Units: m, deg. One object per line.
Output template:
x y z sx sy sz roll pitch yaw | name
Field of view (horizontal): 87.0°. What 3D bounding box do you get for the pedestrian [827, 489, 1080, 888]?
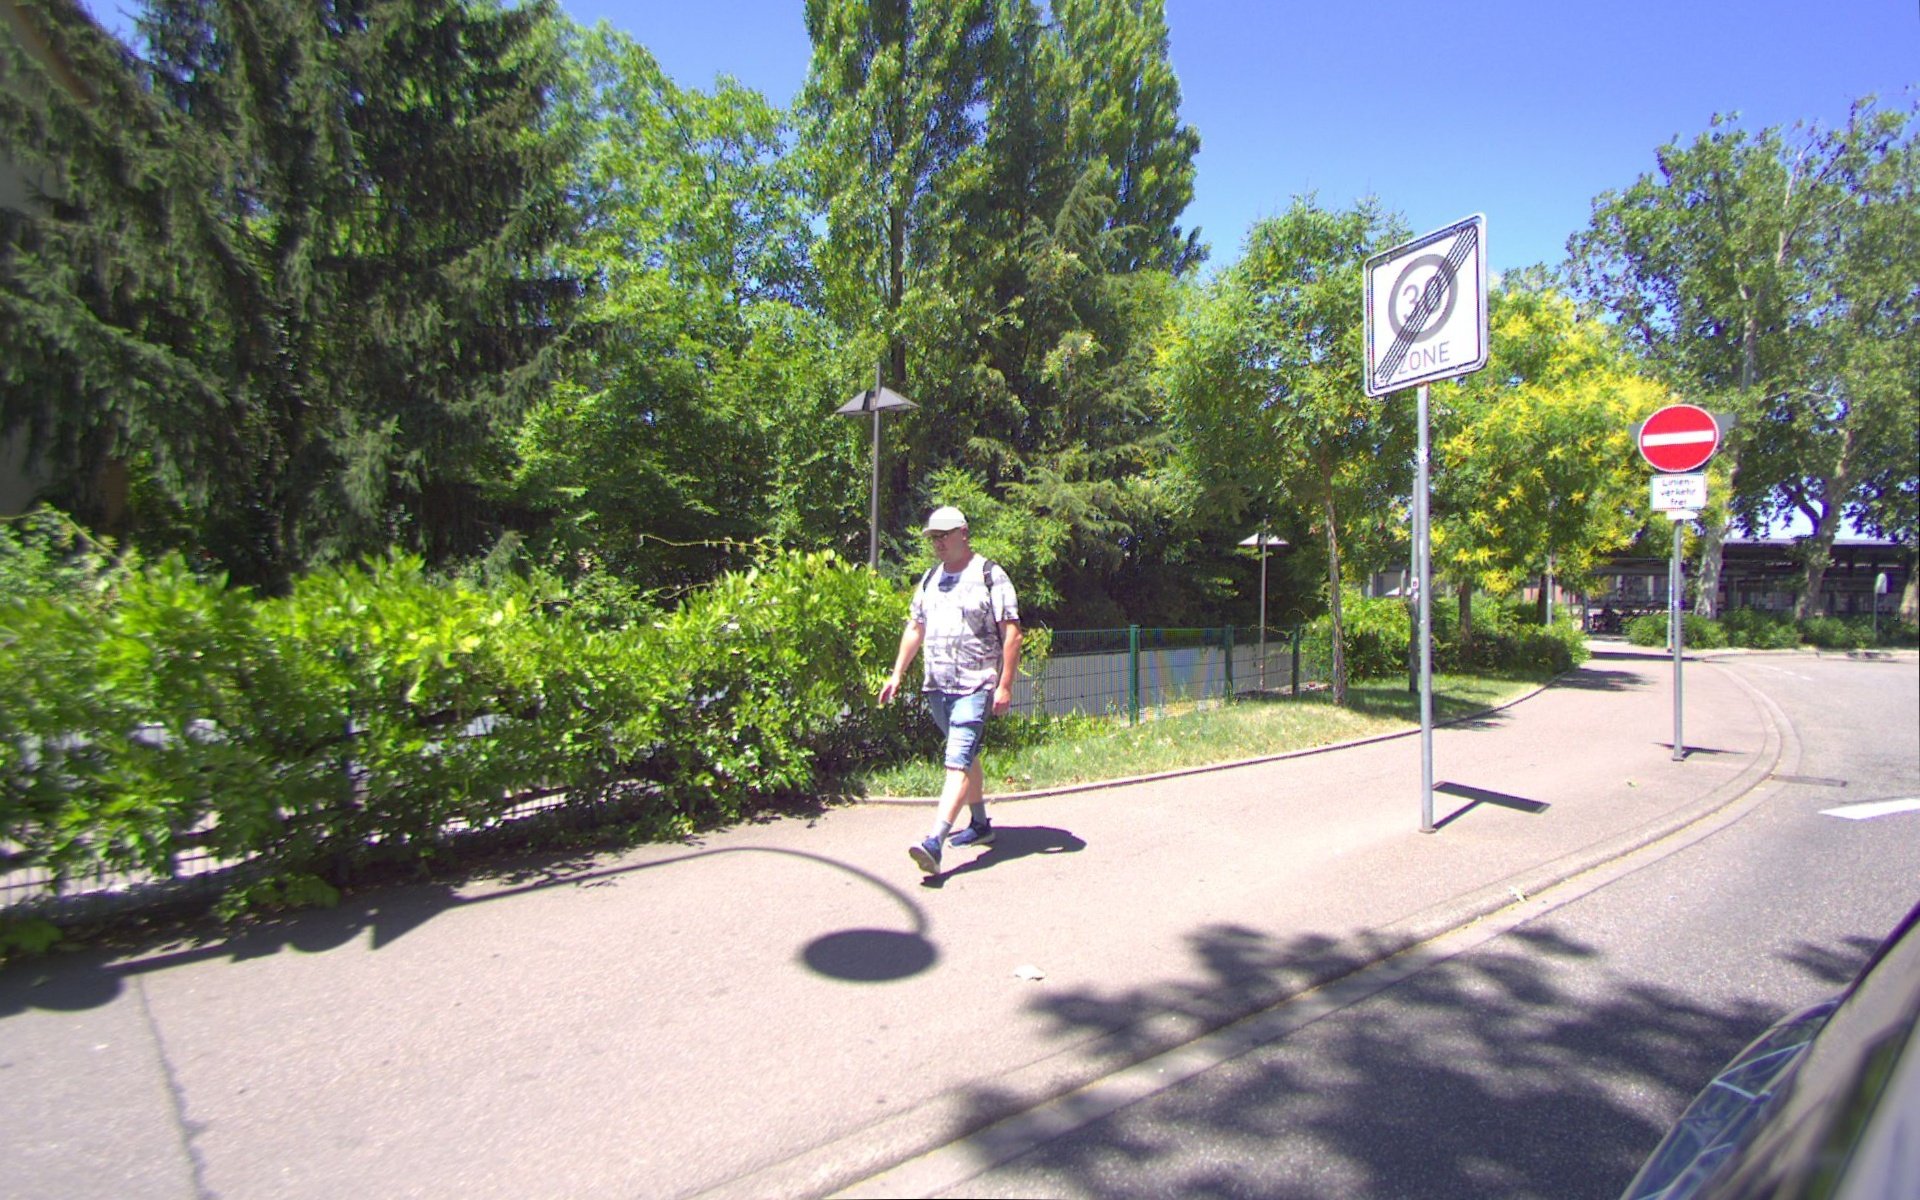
-0.049 0.392 5.182 0.898 1.794 0.915 1 0 -35 | pedestrian
